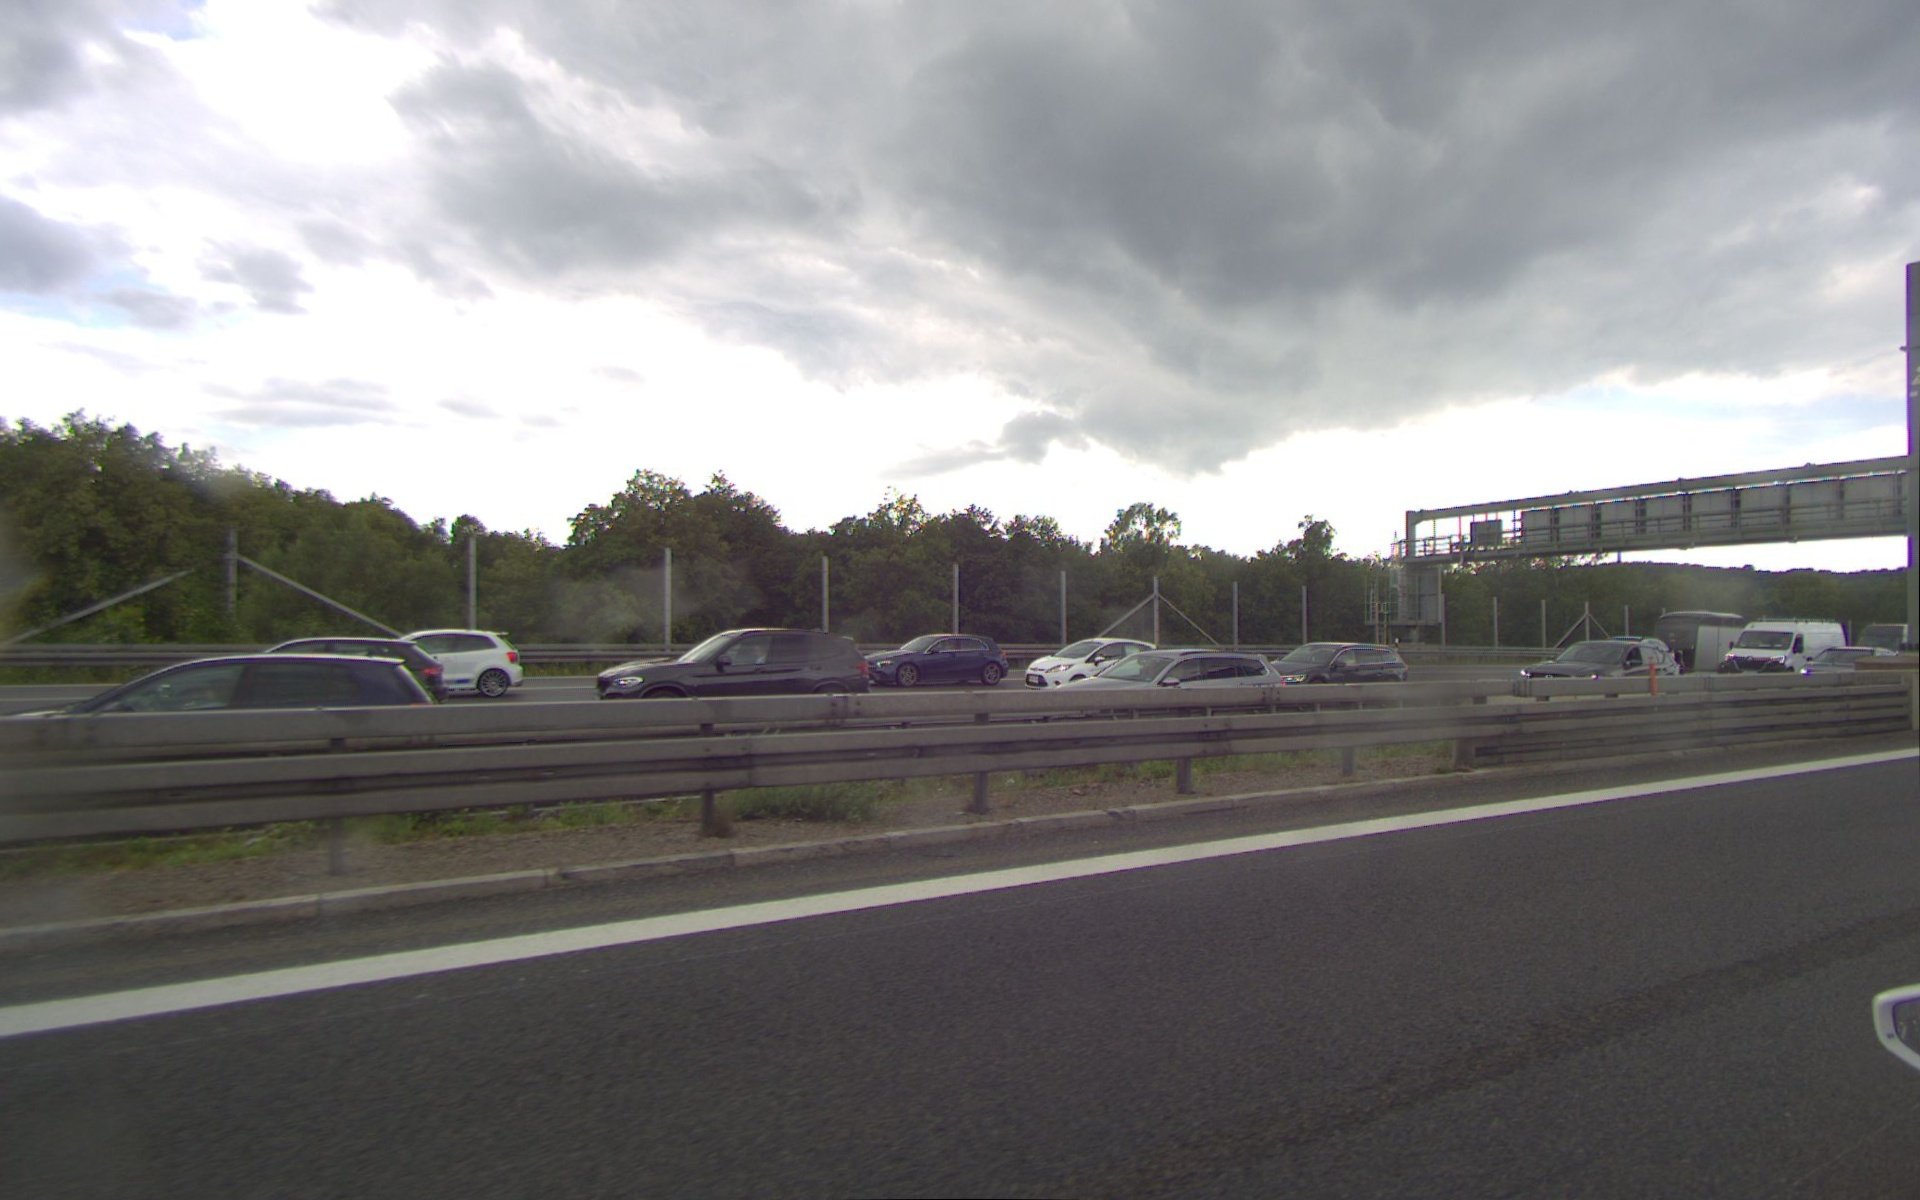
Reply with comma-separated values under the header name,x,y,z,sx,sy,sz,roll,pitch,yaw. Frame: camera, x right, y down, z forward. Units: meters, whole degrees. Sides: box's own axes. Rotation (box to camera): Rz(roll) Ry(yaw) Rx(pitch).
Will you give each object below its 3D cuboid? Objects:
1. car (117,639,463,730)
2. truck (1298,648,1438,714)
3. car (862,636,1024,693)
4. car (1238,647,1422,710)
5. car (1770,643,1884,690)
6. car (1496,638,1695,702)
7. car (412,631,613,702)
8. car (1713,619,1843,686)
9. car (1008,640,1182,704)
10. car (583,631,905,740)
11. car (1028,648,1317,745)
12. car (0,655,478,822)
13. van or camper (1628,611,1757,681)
name,x,y,z,sx,sy,sz,roll,pitch,yaw
car,-10.810,1.313,16.597,4.550,1.299,1.575,1,-1,-31
truck,12.336,2.386,30.316,3.955,1.769,1.983,1,-1,-32
car,-0.441,1.763,28.276,4.292,1.445,1.753,1,-1,-31
car,9.165,1.879,24.781,4.511,1.358,1.880,1,-1,-31
car,28.779,2.172,33.316,4.456,1.410,1.693,1,-1,-33
car,15.705,1.653,24.751,5.196,1.375,2.068,1,-1,-31
car,-9.992,1.425,22.492,3.957,1.445,1.575,1,-1,-31
car,32.748,2.026,40.159,5.996,2.521,2.192,1,-1,-31
car,3.475,1.784,25.591,4.366,1.466,1.613,1,-1,-31
car,-3.620,1.349,17.224,5.077,1.619,1.872,1,-1,-31
car,3.680,1.542,17.071,4.889,1.358,1.880,1,-1,-31
car,-7.169,1.252,10.016,4.139,1.306,1.694,1,-1,-31
van or camper,32.142,1.950,44.034,6.146,2.885,2.569,1,-1,-33
